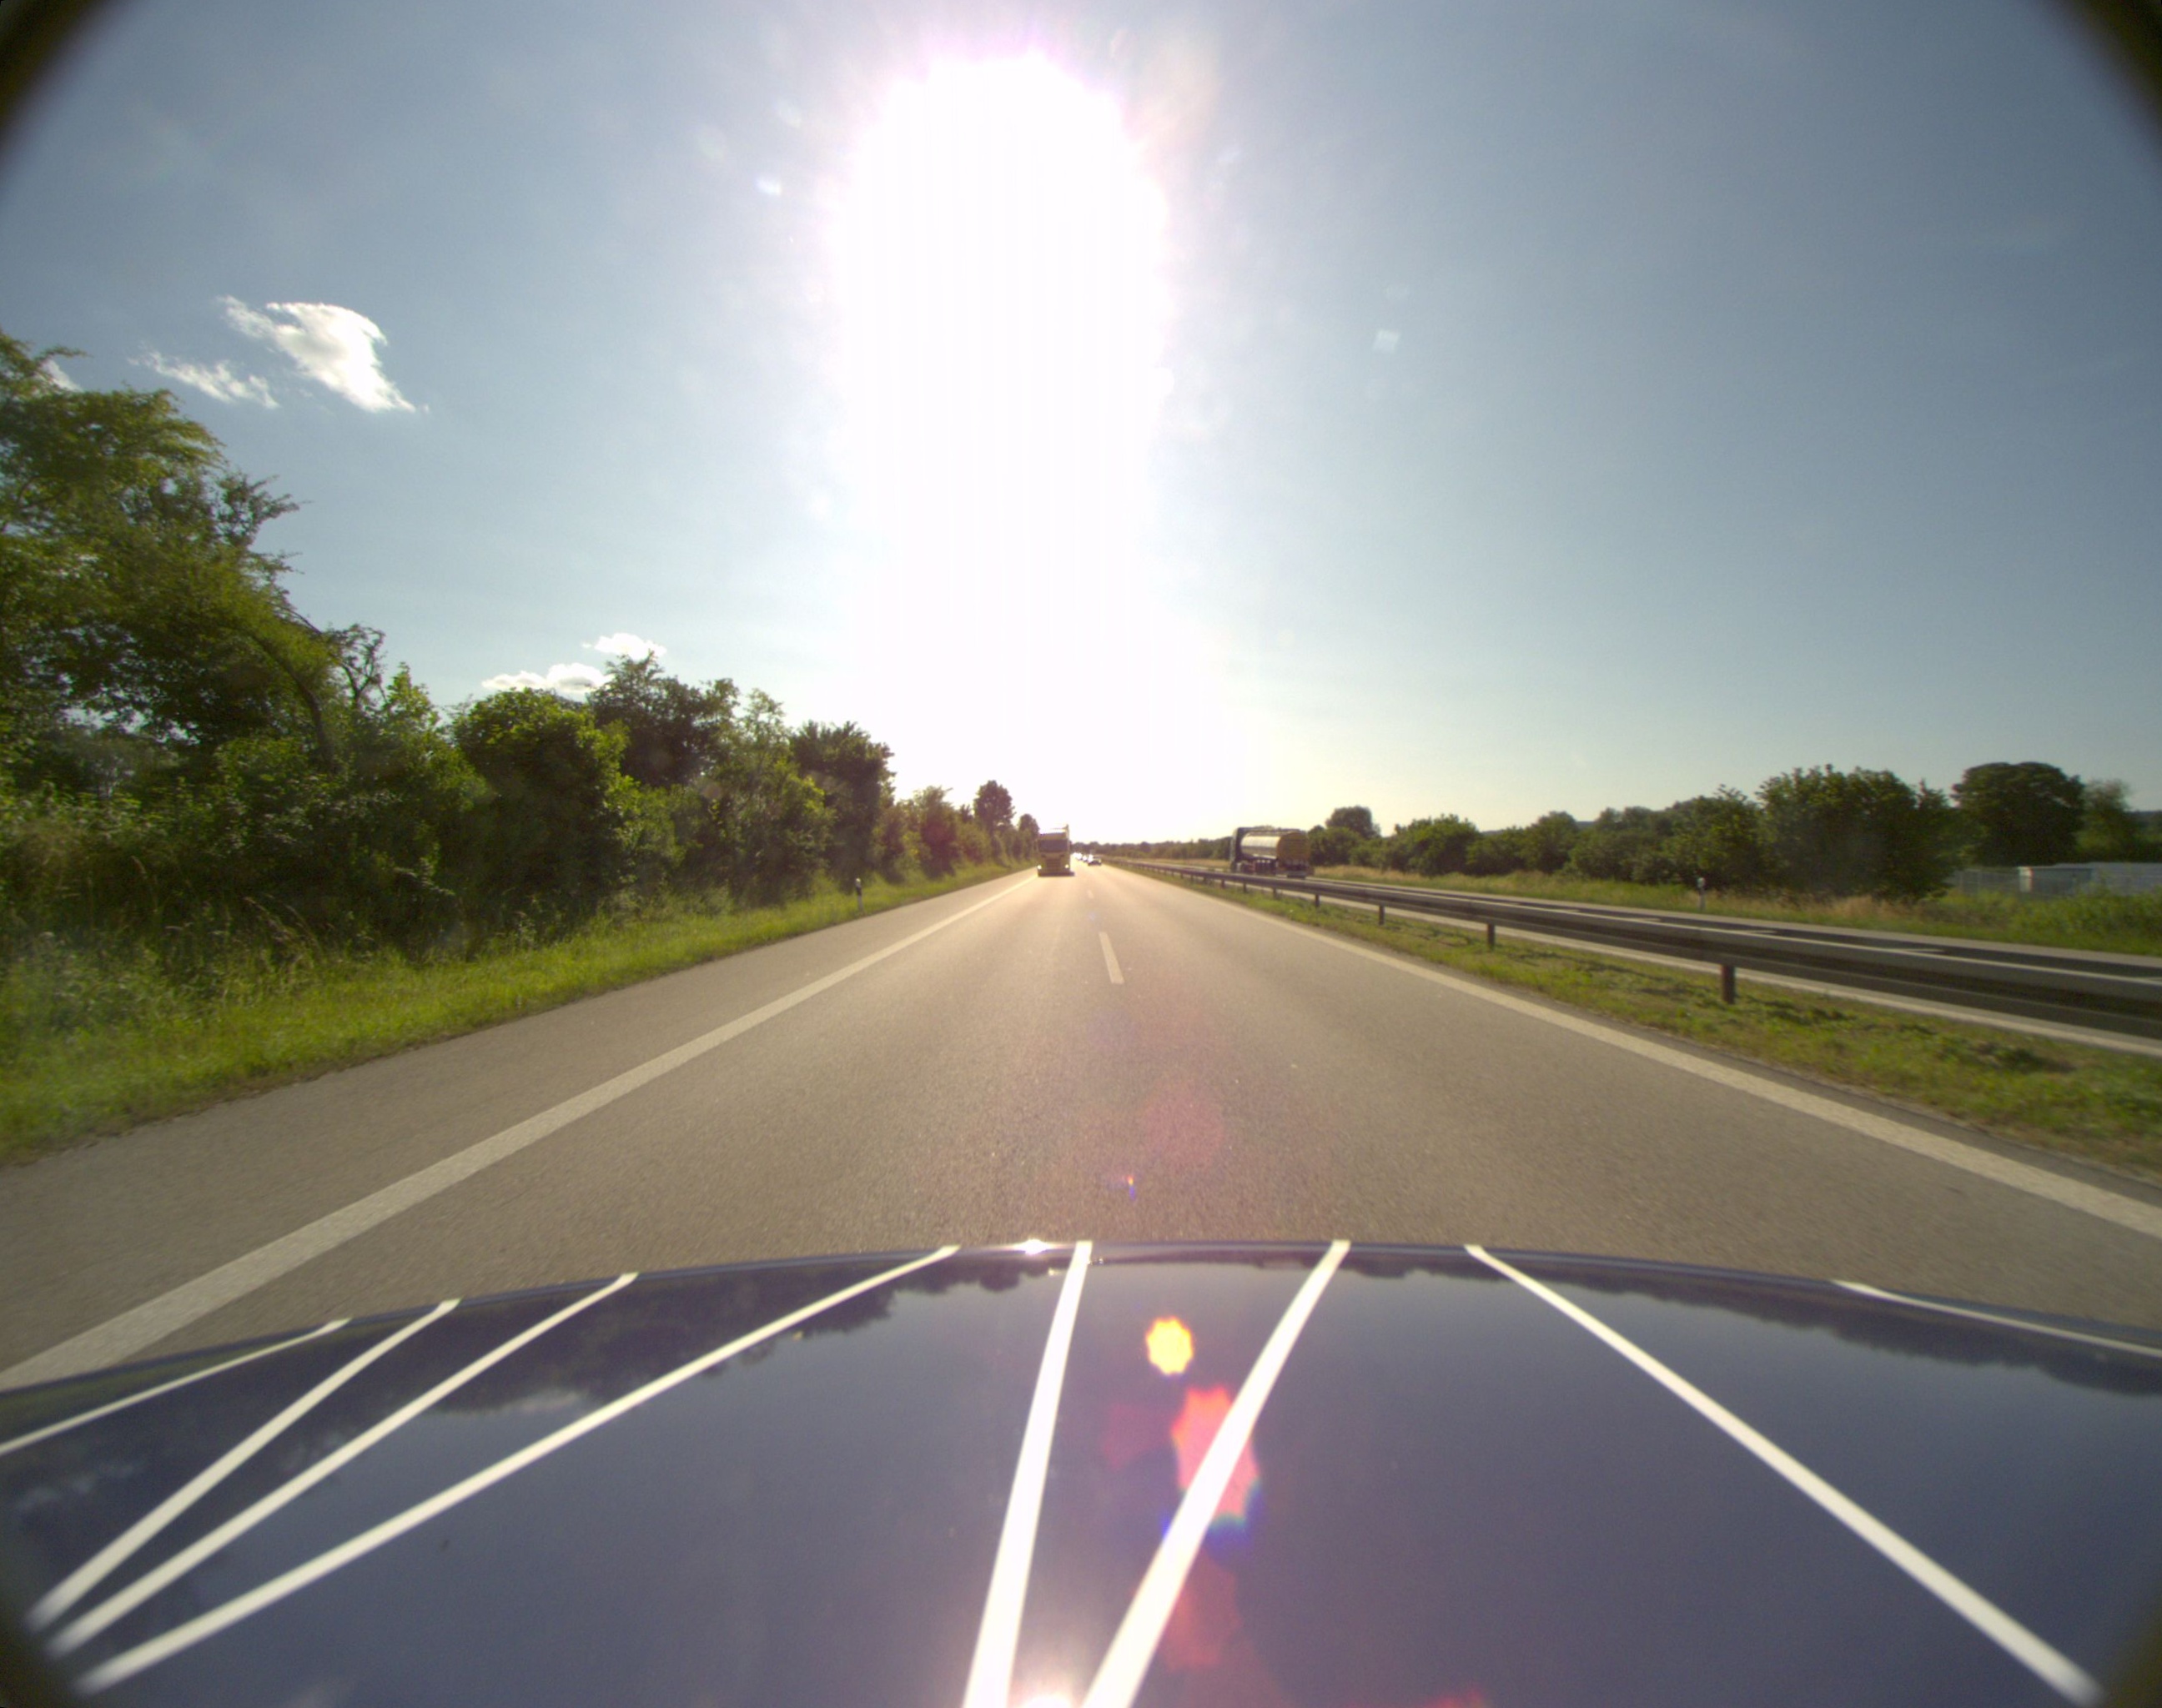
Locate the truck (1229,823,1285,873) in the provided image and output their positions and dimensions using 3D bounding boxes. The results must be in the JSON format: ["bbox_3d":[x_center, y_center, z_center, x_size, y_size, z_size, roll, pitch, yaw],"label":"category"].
[{"bbox_3d":[13.584,-0.473,59.104,2.963,3.710,5.567,0,1,-1],"label":"truck"}]

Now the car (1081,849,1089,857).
[{"bbox_3d":[1.006,-0.268,186.660,1.998,2.002,3.999,-2,1,1],"label":"car"}]

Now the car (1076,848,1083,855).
[{"bbox_3d":[-0.467,-0.729,244.352,1.998,2.002,3.999,-2,1,1],"label":"car"}]

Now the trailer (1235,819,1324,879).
[{"bbox_3d":[13.632,-0.396,53.567,2.988,3.709,12.417,0,1,0],"label":"trailer"}]

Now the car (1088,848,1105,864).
[{"bbox_3d":[2.042,0.285,100.334,1.999,2.002,4.357,-2,1,-1],"label":"car"}]

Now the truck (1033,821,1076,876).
[{"bbox_3d":[-2.132,-0.466,61.339,3.177,4.090,6.386,-2,1,-2],"label":"truck"}]

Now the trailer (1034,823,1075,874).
[{"bbox_3d":[-2.275,-0.491,68.852,3.193,4.036,13.183,-2,1,-1],"label":"trailer"}]

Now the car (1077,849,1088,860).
[{"bbox_3d":[0.253,0.052,142.743,1.998,2.002,3.999,-2,1,1],"label":"car"}]
